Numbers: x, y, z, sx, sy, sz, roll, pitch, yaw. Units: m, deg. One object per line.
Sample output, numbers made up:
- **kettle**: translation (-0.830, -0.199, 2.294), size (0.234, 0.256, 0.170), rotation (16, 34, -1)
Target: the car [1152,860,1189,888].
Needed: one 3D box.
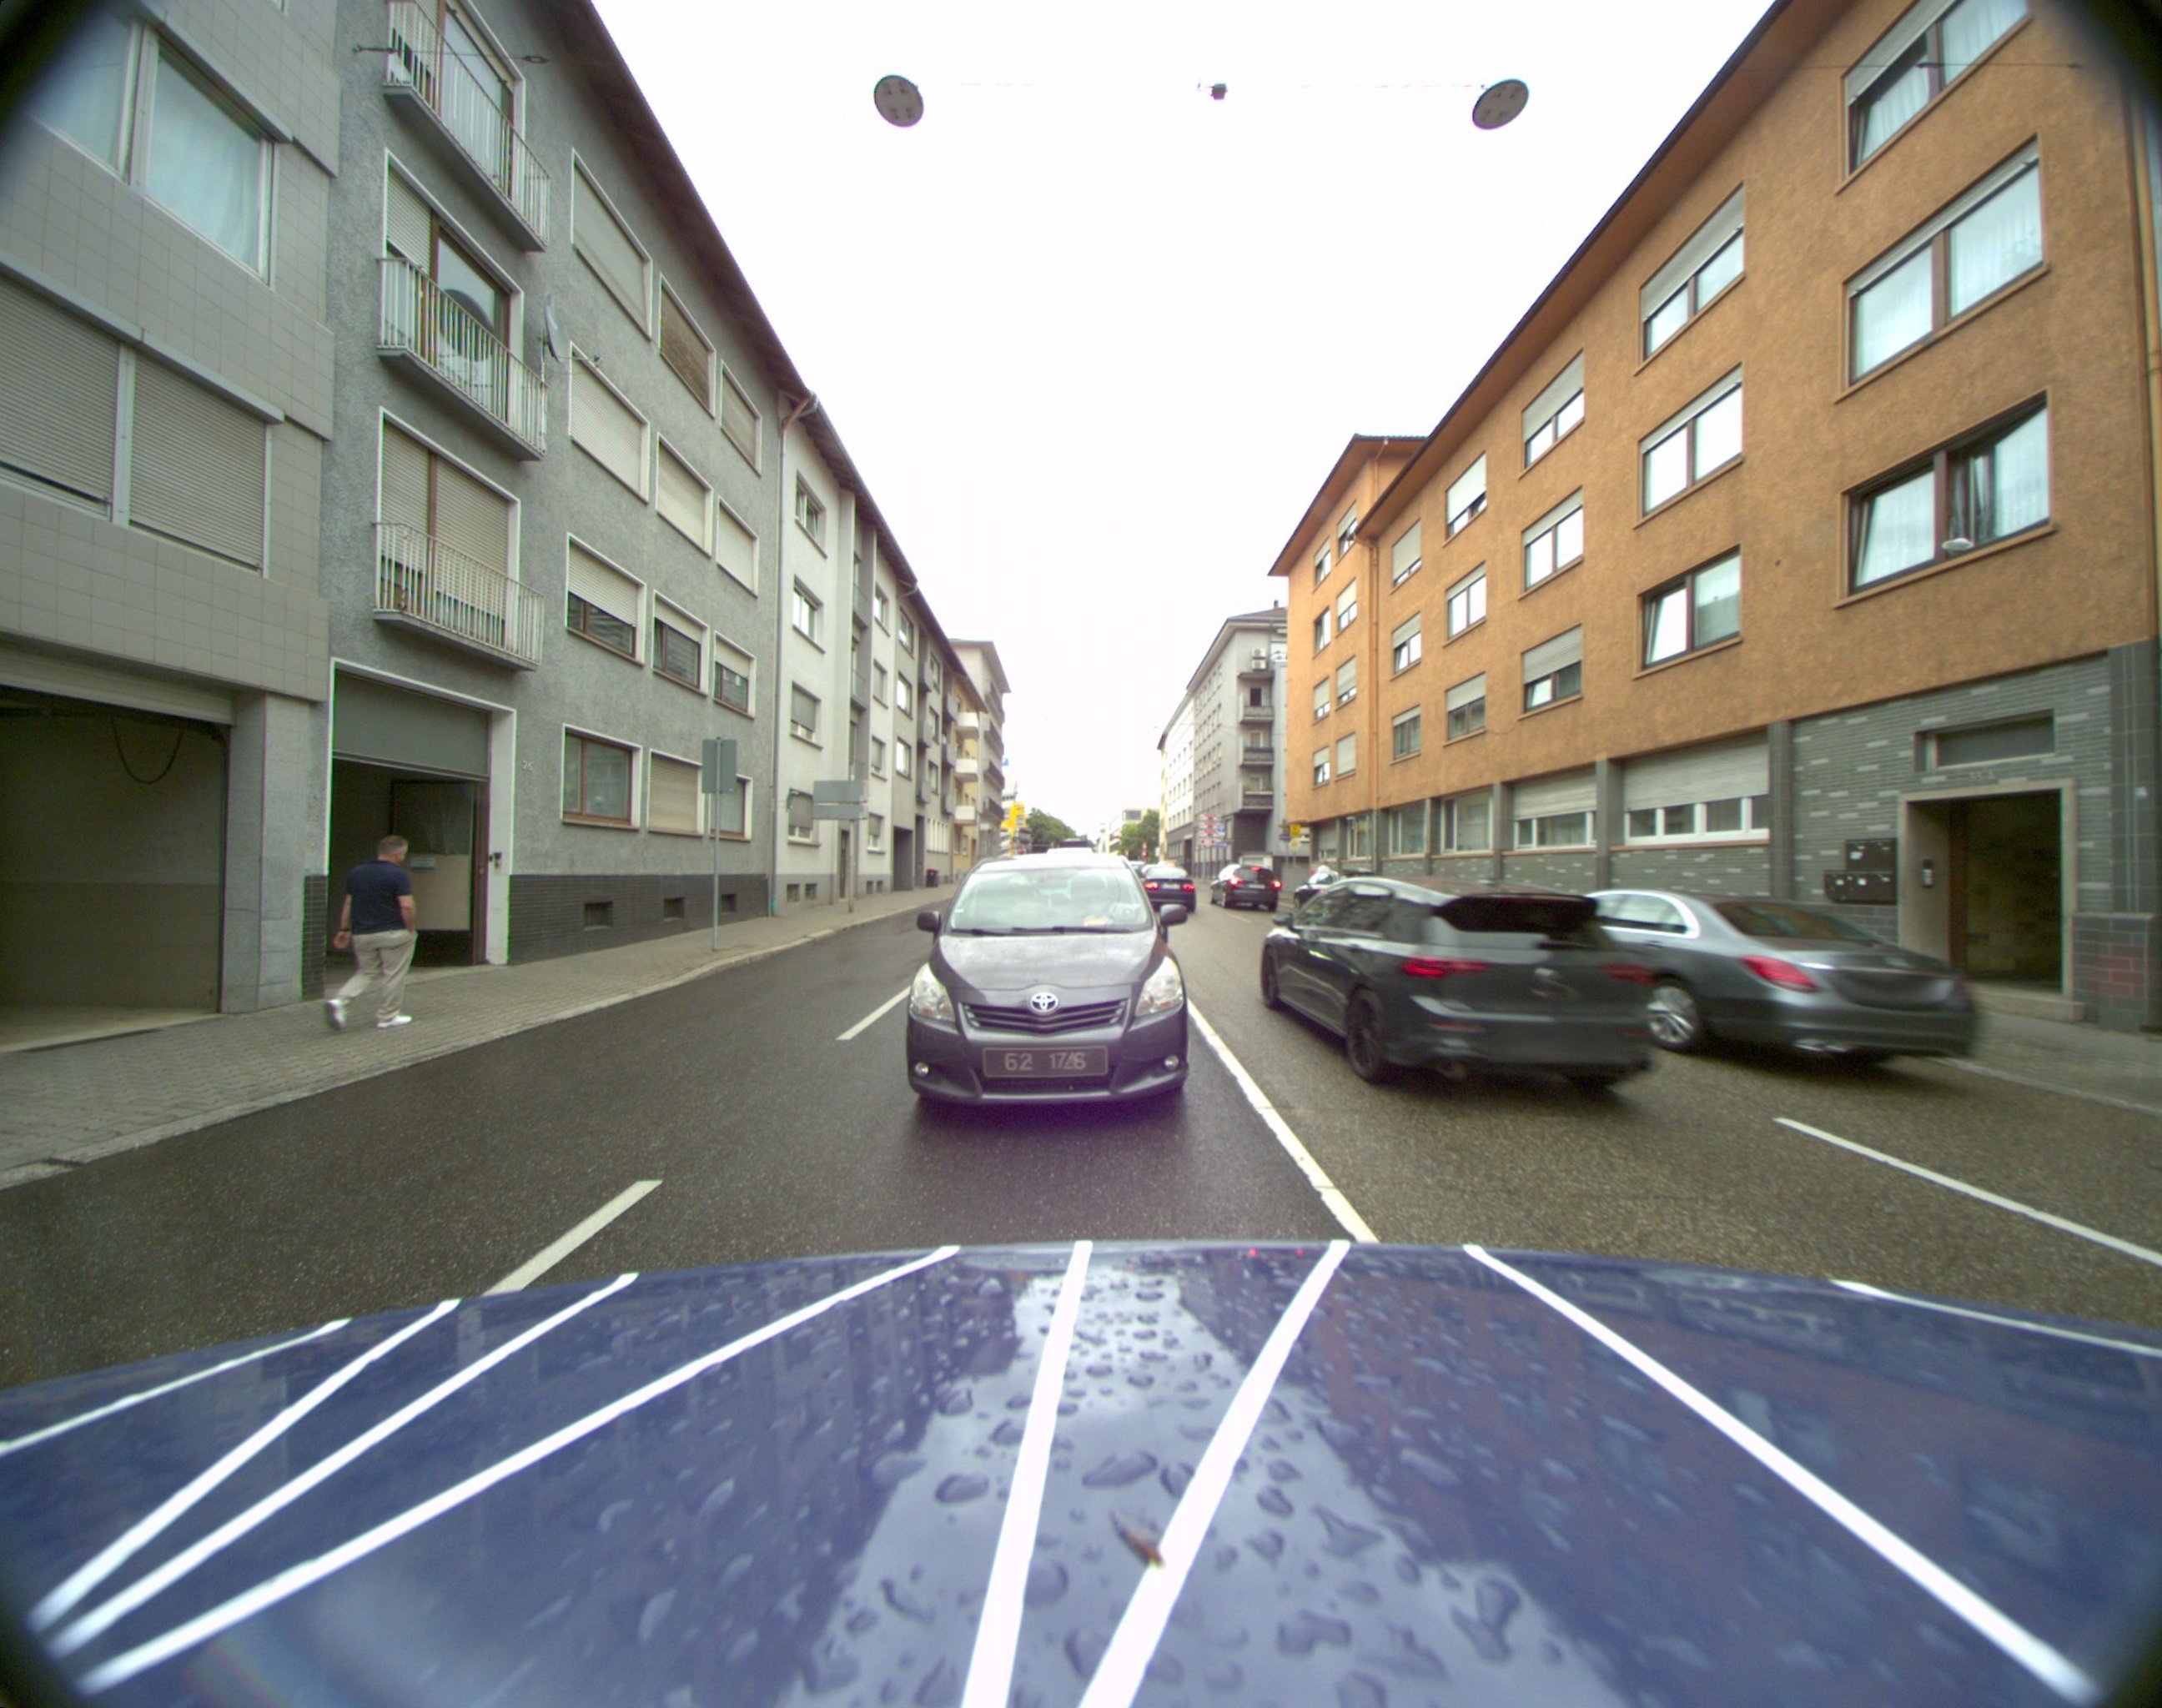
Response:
- **car**: translation (5.763, 1.233, 49.339), size (1.699, 1.530, 4.435), rotation (4, 1, 0)

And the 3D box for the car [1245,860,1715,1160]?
- **car**: translation (2.744, 0.920, 6.476), size (1.699, 1.571, 4.216), rotation (2, 1, 0)

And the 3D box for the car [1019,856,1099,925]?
- **car**: translation (-0.494, 0.887, 20.098), size (1.856, 1.524, 3.792), rotation (-2, 1, 1)

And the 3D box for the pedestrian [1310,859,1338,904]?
- **pedestrian**: translation (9.175, 1.020, 28.684), size (0.768, 1.630, 1.023), rotation (-2, 1, 5)

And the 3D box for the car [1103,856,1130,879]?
- **car**: translation (2.653, 0.996, 57.685), size (1.749, 1.530, 4.052), rotation (2, 1, -1)

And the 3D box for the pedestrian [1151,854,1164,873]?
- **pedestrian**: translation (8.355, 1.048, 83.055), size (1.309, 2.002, 1.258), rotation (-2, 1, 1)

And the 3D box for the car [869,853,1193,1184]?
- **car**: translation (-0.242, 0.897, 6.255), size (1.699, 1.712, 4.217), rotation (-2, 1, 1)

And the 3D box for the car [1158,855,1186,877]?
- **car**: translation (7.829, 0.972, 65.754), size (1.856, 1.712, 4.217), rotation (-2, 1, 1)

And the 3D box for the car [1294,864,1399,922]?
- **car**: translation (8.055, 1.133, 23.462), size (1.799, 1.466, 4.217), rotation (-2, 1, 1)

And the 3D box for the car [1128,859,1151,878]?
- **car**: translation (5.468, 1.346, 71.660), size (1.856, 1.651, 4.610), rotation (-2, 1, 1)

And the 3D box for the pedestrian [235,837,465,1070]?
- **pedestrian**: translation (-6.439, 0.813, 6.779), size (0.871, 1.855, 1.120), rotation (4, 1, 1)

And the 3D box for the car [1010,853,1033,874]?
- **car**: translation (-5.117, 0.779, 65.889), size (1.856, 1.663, 4.215), rotation (-2, 1, -4)

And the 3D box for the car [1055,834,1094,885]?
- **car**: translation (-0.320, 0.287, 43.647), size (2.033, 2.731, 4.368), rotation (-2, 1, 1)

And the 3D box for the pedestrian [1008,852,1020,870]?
- **pedestrian**: translation (-6.805, 0.695, 77.224), size (1.119, 1.741, 0.961), rotation (1, 1, -5)

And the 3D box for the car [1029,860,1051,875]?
- **car**: translation (-4.163, 1.331, 77.209), size (1.856, 1.369, 4.217), rotation (-2, 1, 1)

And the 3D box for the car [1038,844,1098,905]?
- **car**: translation (-0.385, 0.629, 26.603), size (1.856, 1.882, 4.217), rotation (-2, 1, 1)

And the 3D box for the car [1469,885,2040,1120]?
- **car**: translation (5.875, 1.148, 7.557), size (1.699, 1.362, 4.365), rotation (3, 1, -1)

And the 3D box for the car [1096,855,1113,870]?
- **car**: translation (2.858, 1.044, 92.788), size (1.856, 1.712, 4.217), rotation (-2, 1, 1)

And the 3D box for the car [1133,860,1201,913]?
- **car**: translation (2.630, 0.951, 23.999), size (1.699, 1.362, 4.217), rotation (2, 1, 1)

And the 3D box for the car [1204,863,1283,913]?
- **car**: translation (5.537, 1.111, 26.438), size (1.727, 1.464, 4.373), rotation (2, 0, -1)

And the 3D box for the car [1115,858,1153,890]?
- **car**: translation (2.785, 1.024, 40.761), size (1.622, 1.530, 4.216), rotation (2, 1, -1)
